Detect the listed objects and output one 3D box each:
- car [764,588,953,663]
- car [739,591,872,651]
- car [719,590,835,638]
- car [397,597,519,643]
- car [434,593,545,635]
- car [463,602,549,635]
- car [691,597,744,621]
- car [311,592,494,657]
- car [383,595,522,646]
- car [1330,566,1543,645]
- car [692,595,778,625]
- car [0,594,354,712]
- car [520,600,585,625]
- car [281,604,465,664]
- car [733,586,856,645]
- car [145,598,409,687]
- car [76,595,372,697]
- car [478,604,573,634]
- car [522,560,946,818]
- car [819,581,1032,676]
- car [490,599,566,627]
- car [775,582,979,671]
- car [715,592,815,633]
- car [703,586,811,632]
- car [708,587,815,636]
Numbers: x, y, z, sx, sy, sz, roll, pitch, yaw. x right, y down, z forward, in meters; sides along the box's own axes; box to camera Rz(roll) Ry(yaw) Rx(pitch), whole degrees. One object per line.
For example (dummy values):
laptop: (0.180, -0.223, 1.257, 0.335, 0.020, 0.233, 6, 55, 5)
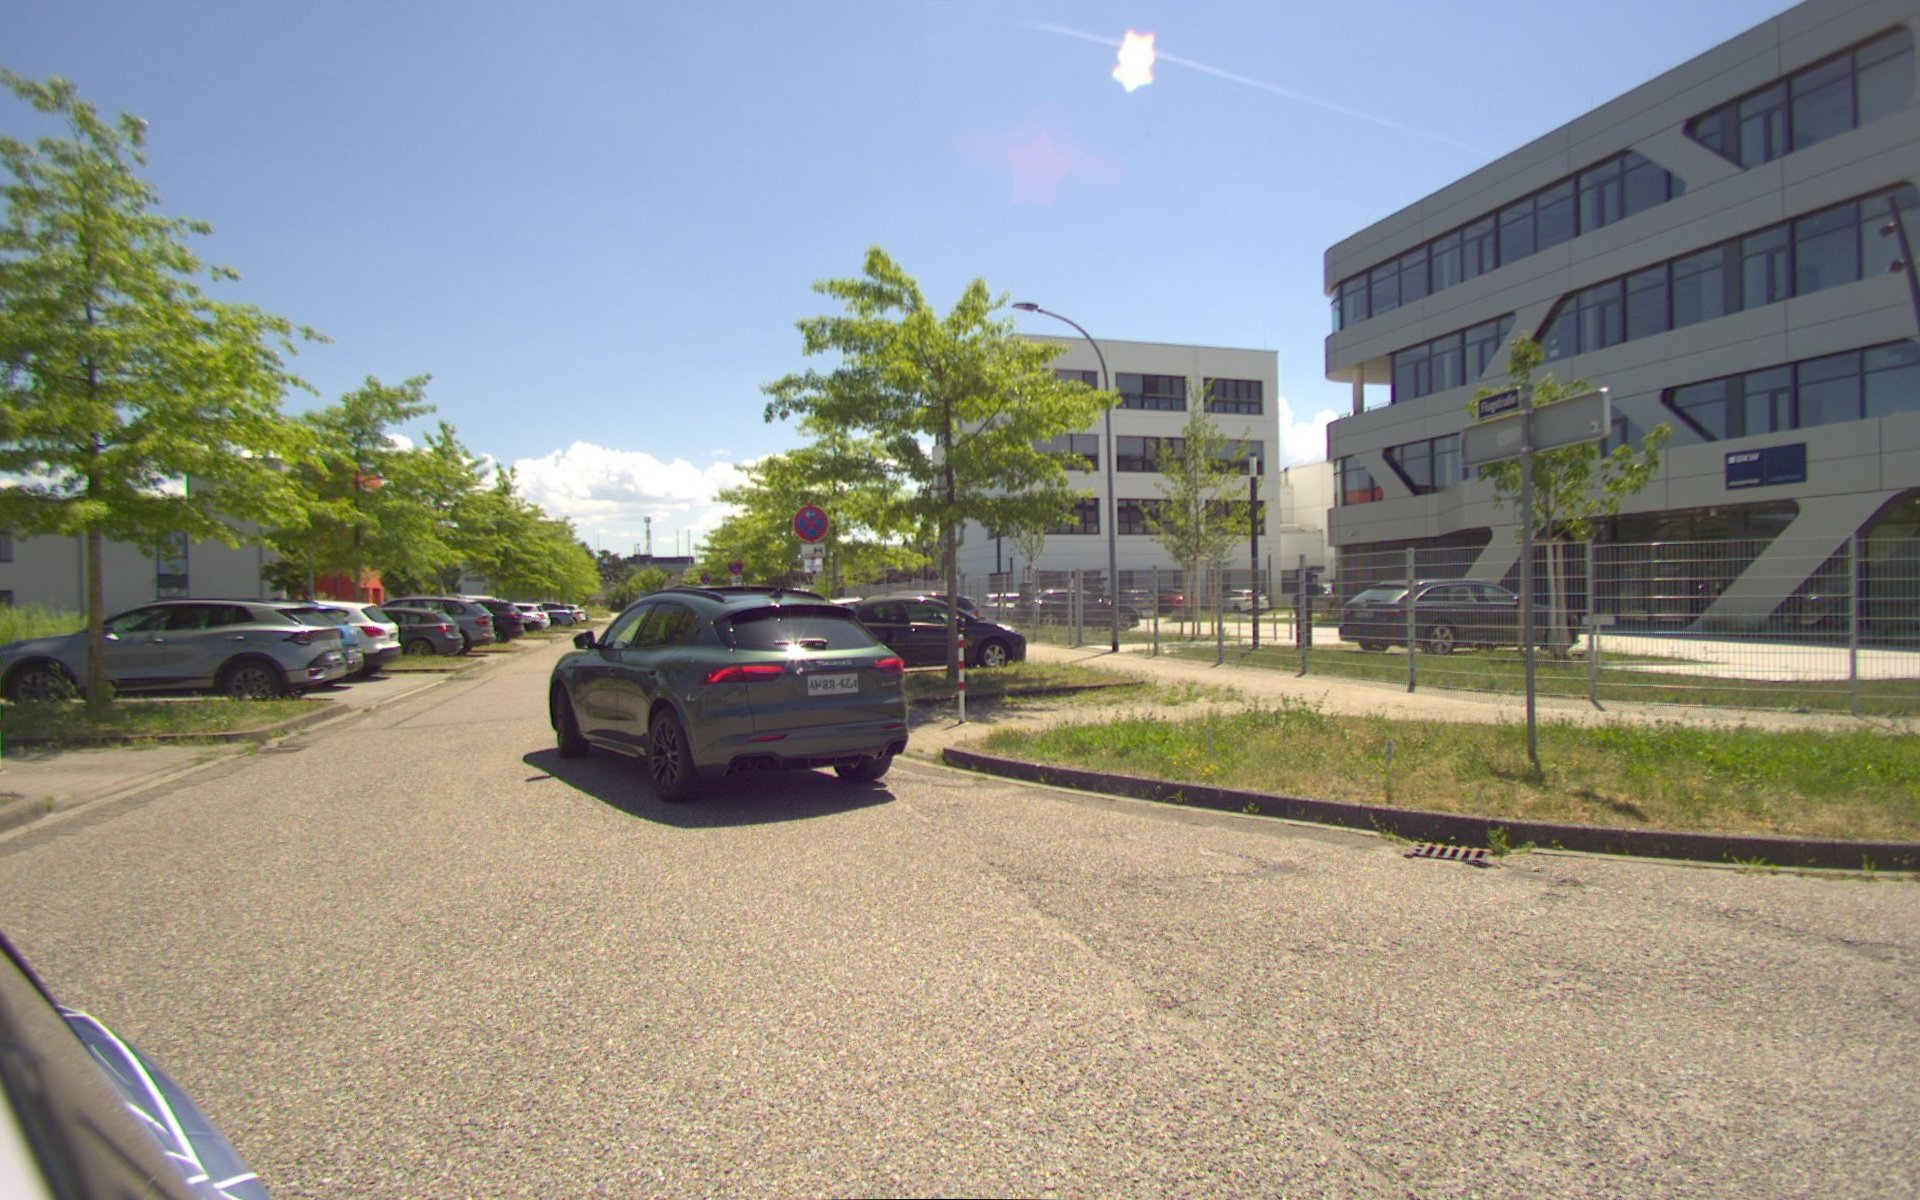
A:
car: (-2.410, 0.561, 23.928, 4.019, 1.434, 1.880, -4, 1, -20)
car: (-4.645, 0.601, 30.337, 3.605, 1.520, 1.737, -3, 1, -20)
car: (-7.031, 0.515, 38.748, 4.136, 1.491, 1.718, -4, 1, -16)
car: (-18.764, 0.728, 37.991, 3.822, 1.690, 1.787, 0, 0, -16)
car: (-21.482, 0.623, 46.381, 4.342, 1.844, 1.801, 0, 0, -15)
car: (-21.945, 0.880, 49.003, 3.581, 1.514, 1.681, 0, 0, -15)
car: (-18.795, 0.709, 78.466, 3.855, 1.604, 1.732, -4, 0, -13)
car: (-16.089, 0.686, 29.473, 4.387, 1.781, 1.999, 0, 0, -18)
car: (-17.627, 0.705, 35.361, 4.115, 1.709, 1.788, 0, 0, -17)
car: (9.066, 0.087, 19.325, 3.431, 1.401, 1.683, 0, 0, -17)
car: (-13.050, 0.570, 58.751, 4.648, 1.458, 1.863, -4, 0, -18)
car: (-11.975, 0.740, 15.570, 4.220, 1.656, 1.856, 0, 0, -16)
car: (-26.896, 0.856, 66.893, 3.784, 1.565, 1.783, -1, -1, -11)
car: (-15.490, 0.859, 26.940, 3.868, 1.420, 1.915, -1, 1, -17)
car: (-5.385, 0.485, 32.794, 3.687, 1.633, 1.822, -3, 1, -16)
car: (-13.588, 0.788, 20.418, 4.012, 1.620, 1.907, -1, 1, -16)
car: (-13.066, 0.767, 18.252, 3.931, 1.656, 1.844, -1, 0, -17)
car: (-23.661, 0.999, 55.298, 4.650, 1.573, 1.920, 0, 0, -20)
car: (-2.272, 0.641, 9.127, 1.926, 1.720, 4.520, 1, -2, -39)
car: (-0.677, 0.485, 18.892, 3.576, 1.446, 1.731, -4, 1, -17)
car: (-25.652, 0.771, 60.242, 3.991, 1.637, 1.698, 0, 0, -16)
car: (-1.773, 0.516, 21.253, 3.873, 1.532, 1.790, -4, 1, -17)
car: (-8.420, 0.523, 43.684, 3.981, 1.471, 1.609, -4, 1, -19)
car: (-9.978, 0.428, 49.626, 5.001, 1.906, 2.003, -3, 0, -15)
car: (-8.098, 0.457, 41.286, 3.931, 1.691, 1.783, -4, 1, -21)
